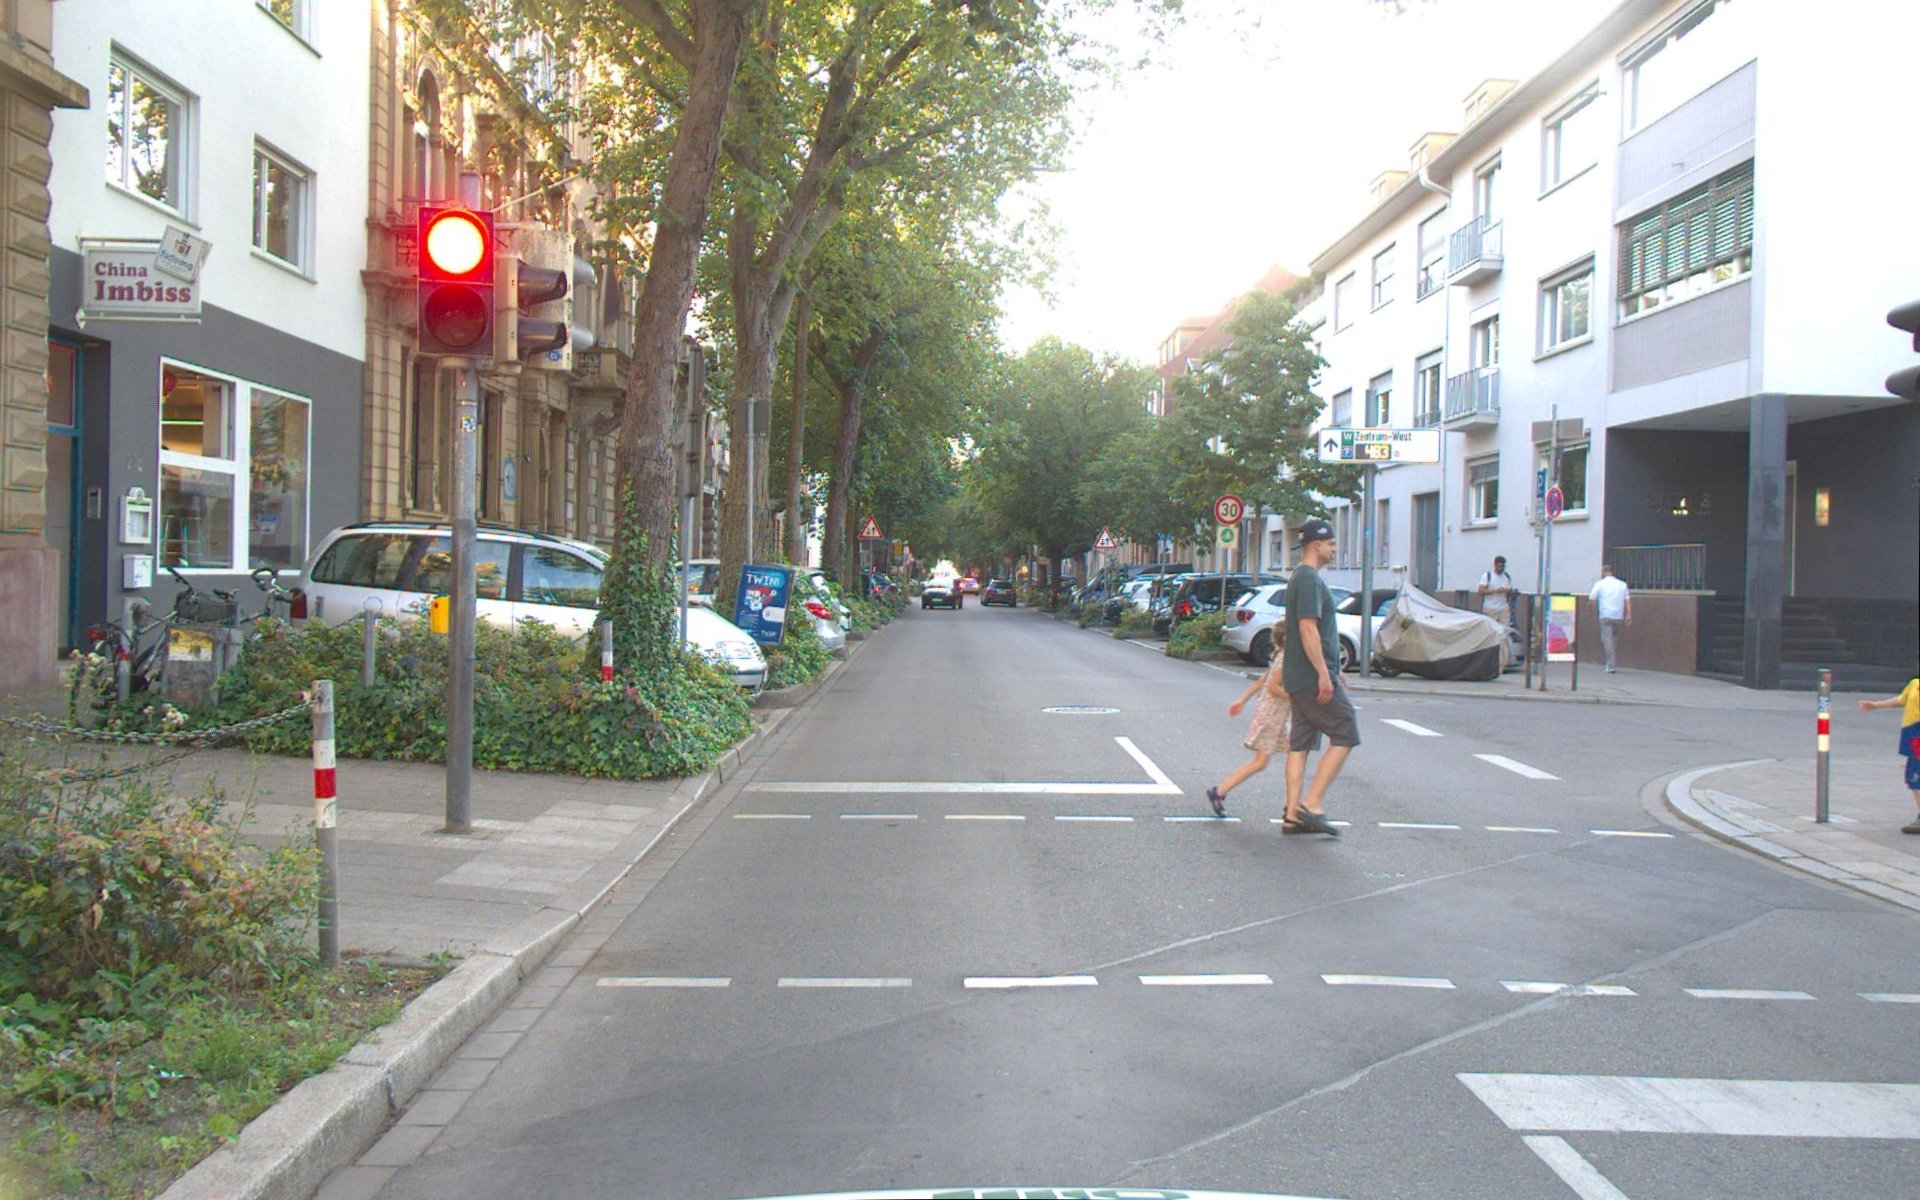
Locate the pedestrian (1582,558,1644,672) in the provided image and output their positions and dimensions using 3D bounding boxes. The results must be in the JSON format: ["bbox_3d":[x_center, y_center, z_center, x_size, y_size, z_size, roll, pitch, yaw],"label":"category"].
[{"bbox_3d":[10.468,0.234,26.519,0.689,1.782,0.700,2,1,3],"label":"pedestrian"}]

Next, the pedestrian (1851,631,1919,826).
[{"bbox_3d":[6.018,0.791,10.175,0.822,1.140,0.564,2,2,40],"label":"pedestrian"}]

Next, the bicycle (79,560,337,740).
[{"bbox_3d":[-5.668,0.325,12.689,0.719,1.207,2.634,2,1,0],"label":"bicycle"}]

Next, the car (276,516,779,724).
[{"bbox_3d":[-4.074,0.184,16.187,4.457,1.867,1.832,1,1,-4],"label":"car"}]

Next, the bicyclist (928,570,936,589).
[{"bbox_3d":[-2.151,-1.566,126.326,0.560,1.495,0.642,2,0,-7],"label":"bicyclist"}]

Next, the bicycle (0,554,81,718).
[{"bbox_3d":[-7.462,0.264,12.125,0.623,1.222,2.564,1,1,1],"label":"bicycle"}]

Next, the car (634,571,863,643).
[{"bbox_3d":[-4.292,0.130,34.024,4.455,1.396,1.833,1,1,0],"label":"car"}]

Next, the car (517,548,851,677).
[{"bbox_3d":[-3.871,0.159,23.740,4.455,1.718,1.833,1,1,0],"label":"car"}]

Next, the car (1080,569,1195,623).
[{"bbox_3d":[6.387,-0.154,59.866,3.933,1.862,1.707,1,1,-1],"label":"car"}]

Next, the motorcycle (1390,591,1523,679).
[{"bbox_3d":[7.168,0.492,23.915,1.761,1.220,0.613,1,1,8],"label":"motorcycle"}]

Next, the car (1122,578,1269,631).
[{"bbox_3d":[6.713,0.113,47.380,3.933,1.434,1.707,1,1,-1],"label":"car"}]

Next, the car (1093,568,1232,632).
[{"bbox_3d":[6.055,-0.021,49.721,3.933,1.847,1.707,1,1,-1],"label":"car"}]

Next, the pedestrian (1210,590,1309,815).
[{"bbox_3d":[1.874,0.627,10.391,0.528,1.359,0.507,2,1,4],"label":"pedestrian"}]

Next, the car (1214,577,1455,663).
[{"bbox_3d":[6.671,0.346,29.750,3.933,1.467,1.707,1,1,-1],"label":"car"}]

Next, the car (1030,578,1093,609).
[{"bbox_3d":[6.609,-0.425,107.558,3.933,1.862,1.707,1,1,-1],"label":"car"}]

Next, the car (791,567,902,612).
[{"bbox_3d":[-4.702,-0.450,68.835,4.455,1.721,1.833,1,1,0],"label":"car"}]

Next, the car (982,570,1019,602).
[{"bbox_3d":[2.187,-0.765,89.915,1.788,1.588,4.027,2,1,-2],"label":"car"}]

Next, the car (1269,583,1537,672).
[{"bbox_3d":[7.200,0.423,27.115,3.932,1.366,1.707,1,1,0],"label":"car"}]

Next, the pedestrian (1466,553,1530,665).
[{"bbox_3d":[9.254,0.138,28.480,0.751,1.873,0.943,1,1,0],"label":"pedestrian"}]

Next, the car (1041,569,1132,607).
[{"bbox_3d":[5.686,-0.547,74.846,3.933,1.629,1.707,1,1,-1],"label":"car"}]

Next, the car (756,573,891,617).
[{"bbox_3d":[-4.620,-0.175,56.533,4.455,1.434,1.833,1,1,0],"label":"car"}]

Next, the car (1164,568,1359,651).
[{"bbox_3d":[6.546,0.193,36.152,3.933,1.720,1.707,1,1,-1],"label":"car"}]

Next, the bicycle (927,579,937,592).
[{"bbox_3d":[-2.157,-1.085,126.543,0.560,0.965,1.742,2,0,-6],"label":"bicycle"}]

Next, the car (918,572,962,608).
[{"bbox_3d":[-0.952,-0.494,80.288,1.864,1.605,3.992,2,1,2],"label":"car"}]

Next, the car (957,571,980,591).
[{"bbox_3d":[0.736,-1.659,144.161,1.885,1.689,4.000,1,1,-1],"label":"car"}]

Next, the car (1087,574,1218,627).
[{"bbox_3d":[6.076,0.015,52.579,3.933,1.556,1.707,1,1,-1],"label":"car"}]

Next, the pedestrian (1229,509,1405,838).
[{"bbox_3d":[2.086,0.408,9.776,0.869,1.847,0.794,1,1,4],"label":"pedestrian"}]
